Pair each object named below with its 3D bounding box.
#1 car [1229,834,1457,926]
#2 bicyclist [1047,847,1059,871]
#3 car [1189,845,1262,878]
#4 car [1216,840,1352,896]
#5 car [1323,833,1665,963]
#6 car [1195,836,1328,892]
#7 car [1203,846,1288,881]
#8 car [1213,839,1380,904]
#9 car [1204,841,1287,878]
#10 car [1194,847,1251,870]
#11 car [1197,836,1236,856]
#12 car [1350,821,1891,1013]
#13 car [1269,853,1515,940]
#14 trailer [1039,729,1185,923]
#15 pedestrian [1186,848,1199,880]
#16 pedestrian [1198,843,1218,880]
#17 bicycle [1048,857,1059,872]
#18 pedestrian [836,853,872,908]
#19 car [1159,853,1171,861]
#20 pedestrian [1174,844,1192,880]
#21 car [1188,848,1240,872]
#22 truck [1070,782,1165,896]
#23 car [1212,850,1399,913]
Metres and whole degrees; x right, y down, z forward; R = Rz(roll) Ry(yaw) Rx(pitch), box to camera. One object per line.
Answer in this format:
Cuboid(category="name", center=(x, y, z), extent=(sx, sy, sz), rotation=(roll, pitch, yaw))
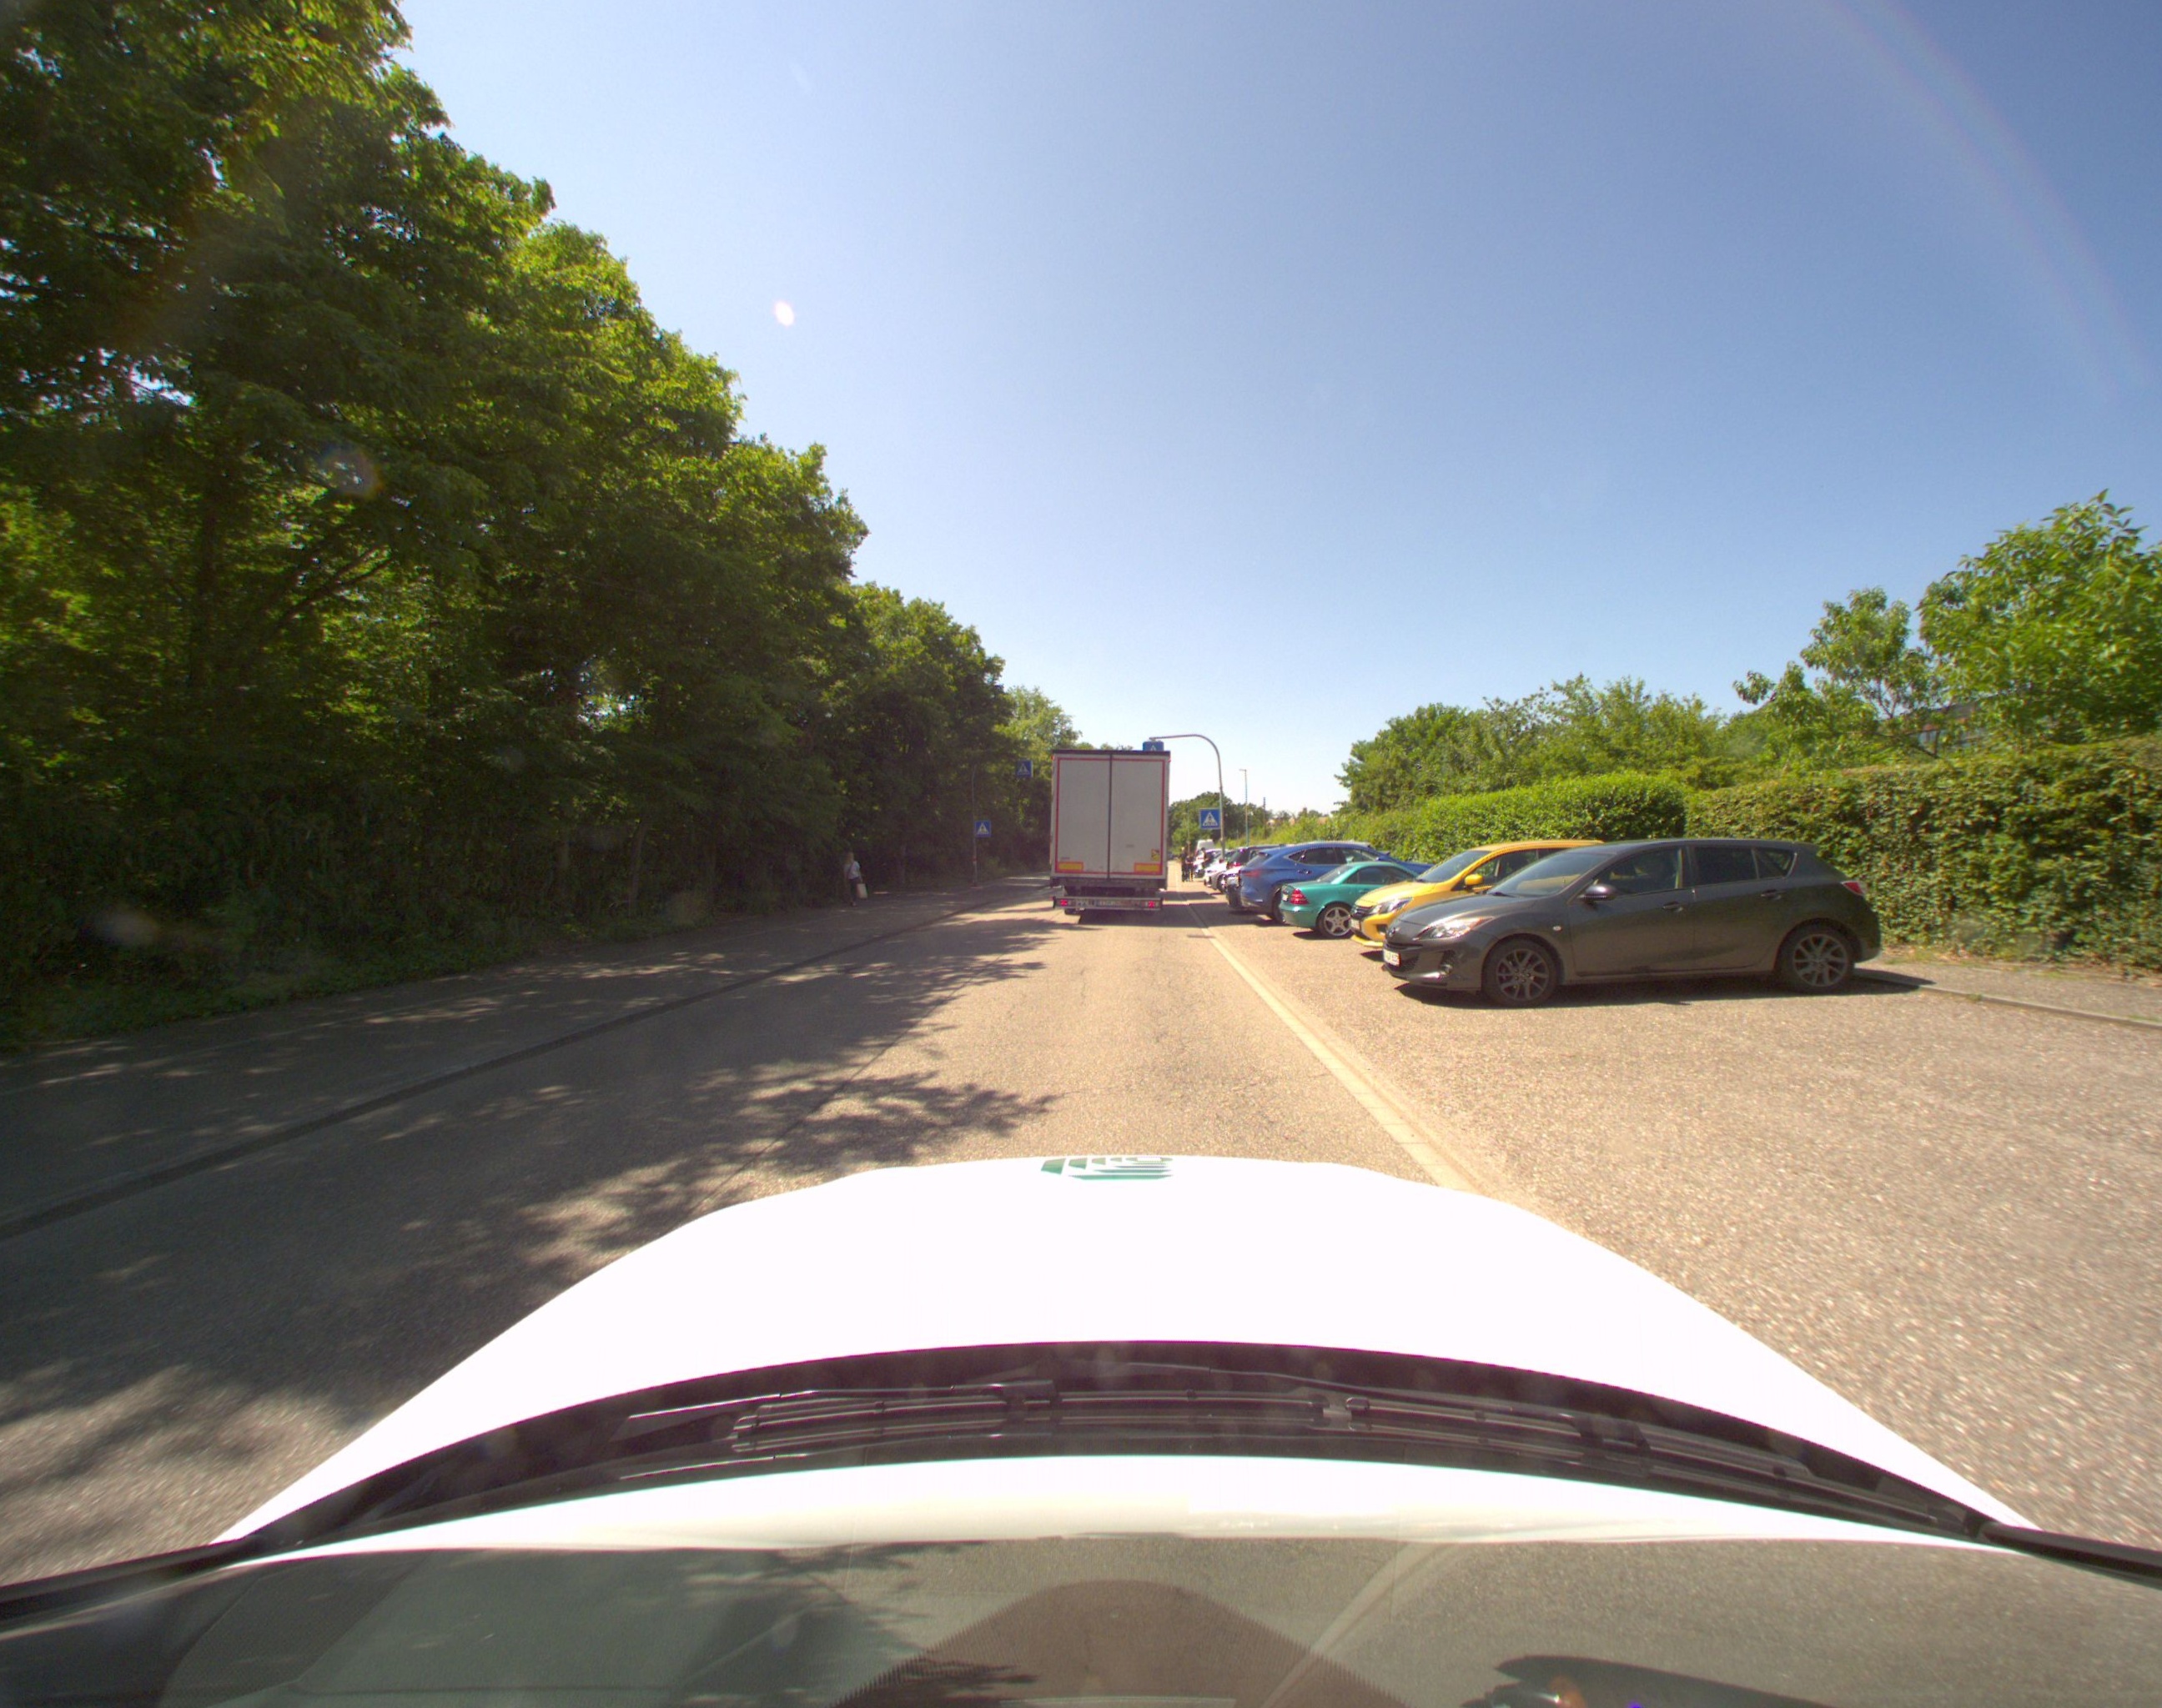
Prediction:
Cuboid(category="car", center=(5.409, 0.526, 17.240), extent=(4.221, 1.634, 1.824), rotation=(-3, 0, 2))
Cuboid(category="bicyclist", center=(-2.028, 0.360, 59.291), extent=(0.713, 1.758, 0.798), rotation=(0, -1, 8))
Cuboid(category="car", center=(8.659, 0.420, 48.996), extent=(3.946, 1.668, 1.812), rotation=(-3, 2, -2))
Cuboid(category="car", center=(6.706, 0.452, 27.254), extent=(4.107, 1.657, 1.889), rotation=(-2, 0, 4))
Cuboid(category="car", center=(5.541, 0.577, 11.324), extent=(3.786, 1.455, 1.775), rotation=(-3, -1, 2))
Cuboid(category="car", center=(6.548, 0.374, 29.876), extent=(4.388, 1.698, 1.877), rotation=(-4, -1, 1))
Cuboid(category="car", center=(8.005, 0.457, 39.983), extent=(3.933, 1.480, 1.818), rotation=(-3, -1, 8))
Cuboid(category="car", center=(6.003, 0.505, 23.055), extent=(4.219, 1.654, 1.900), rotation=(-1, -2, 2))
Cuboid(category="car", center=(8.667, 0.295, 43.070), extent=(3.945, 1.668, 1.812), rotation=(-3, -1, -2))
Cuboid(category="car", center=(10.644, 0.340, 61.300), extent=(3.942, 1.619, 1.813), rotation=(-2, 0, 0))
Cuboid(category="car", center=(14.599, -0.861, 87.834), extent=(3.935, 1.798, 1.816), rotation=(-4, -3, 6))
Cuboid(category="car", center=(5.116, 0.580, 8.239), extent=(4.147, 1.495, 1.884), rotation=(-3, -1, 2))
Cuboid(category="car", center=(5.384, 0.724, 14.472), extent=(3.718, 1.268, 1.630), rotation=(-3, -1, 4))
Cuboid(category="trailer", center=(0.986, -0.653, 23.134), extent=(3.099, 4.102, 11.547), rotation=(0, 0, 3))
Cuboid(category="pedestrian", center=(5.873, 0.515, 42.907), extent=(0.586, 1.615, 0.746), rotation=(-4, -1, 9))
Cuboid(category="pedestrian", center=(6.492, 0.368, 41.644), extent=(0.902, 1.798, 0.937), rotation=(-4, -1, 9))
Cuboid(category="bicycle", center=(-2.011, 0.776, 59.493), extent=(0.451, 1.047, 2.208), rotation=(0, 0, 8))
Cuboid(category="pedestrian", center=(-6.875, 0.790, 24.714), extent=(0.825, 1.622, 0.783), rotation=(1, 0, 2))
Cuboid(category="car", center=(16.099, 0.650, 155.555), extent=(1.769, 1.486, 4.014), rotation=(0, 0, 13))
Cuboid(category="pedestrian", center=(5.486, 0.430, 43.912), extent=(0.817, 1.834, 0.794), rotation=(-4, -1, 9))
Cuboid(category="car", center=(10.966, 0.503, 67.226), extent=(3.943, 1.765, 1.813), rotation=(-3, 0, 0))
Cuboid(category="truck", center=(1.400, -0.517, 29.739), extent=(3.100, 3.725, 6.420), rotation=(0, 0, 4))
Cuboid(category="car", center=(5.510, 0.647, 20.294), extent=(4.123, 1.439, 1.812), rotation=(-1, 0, -5))
